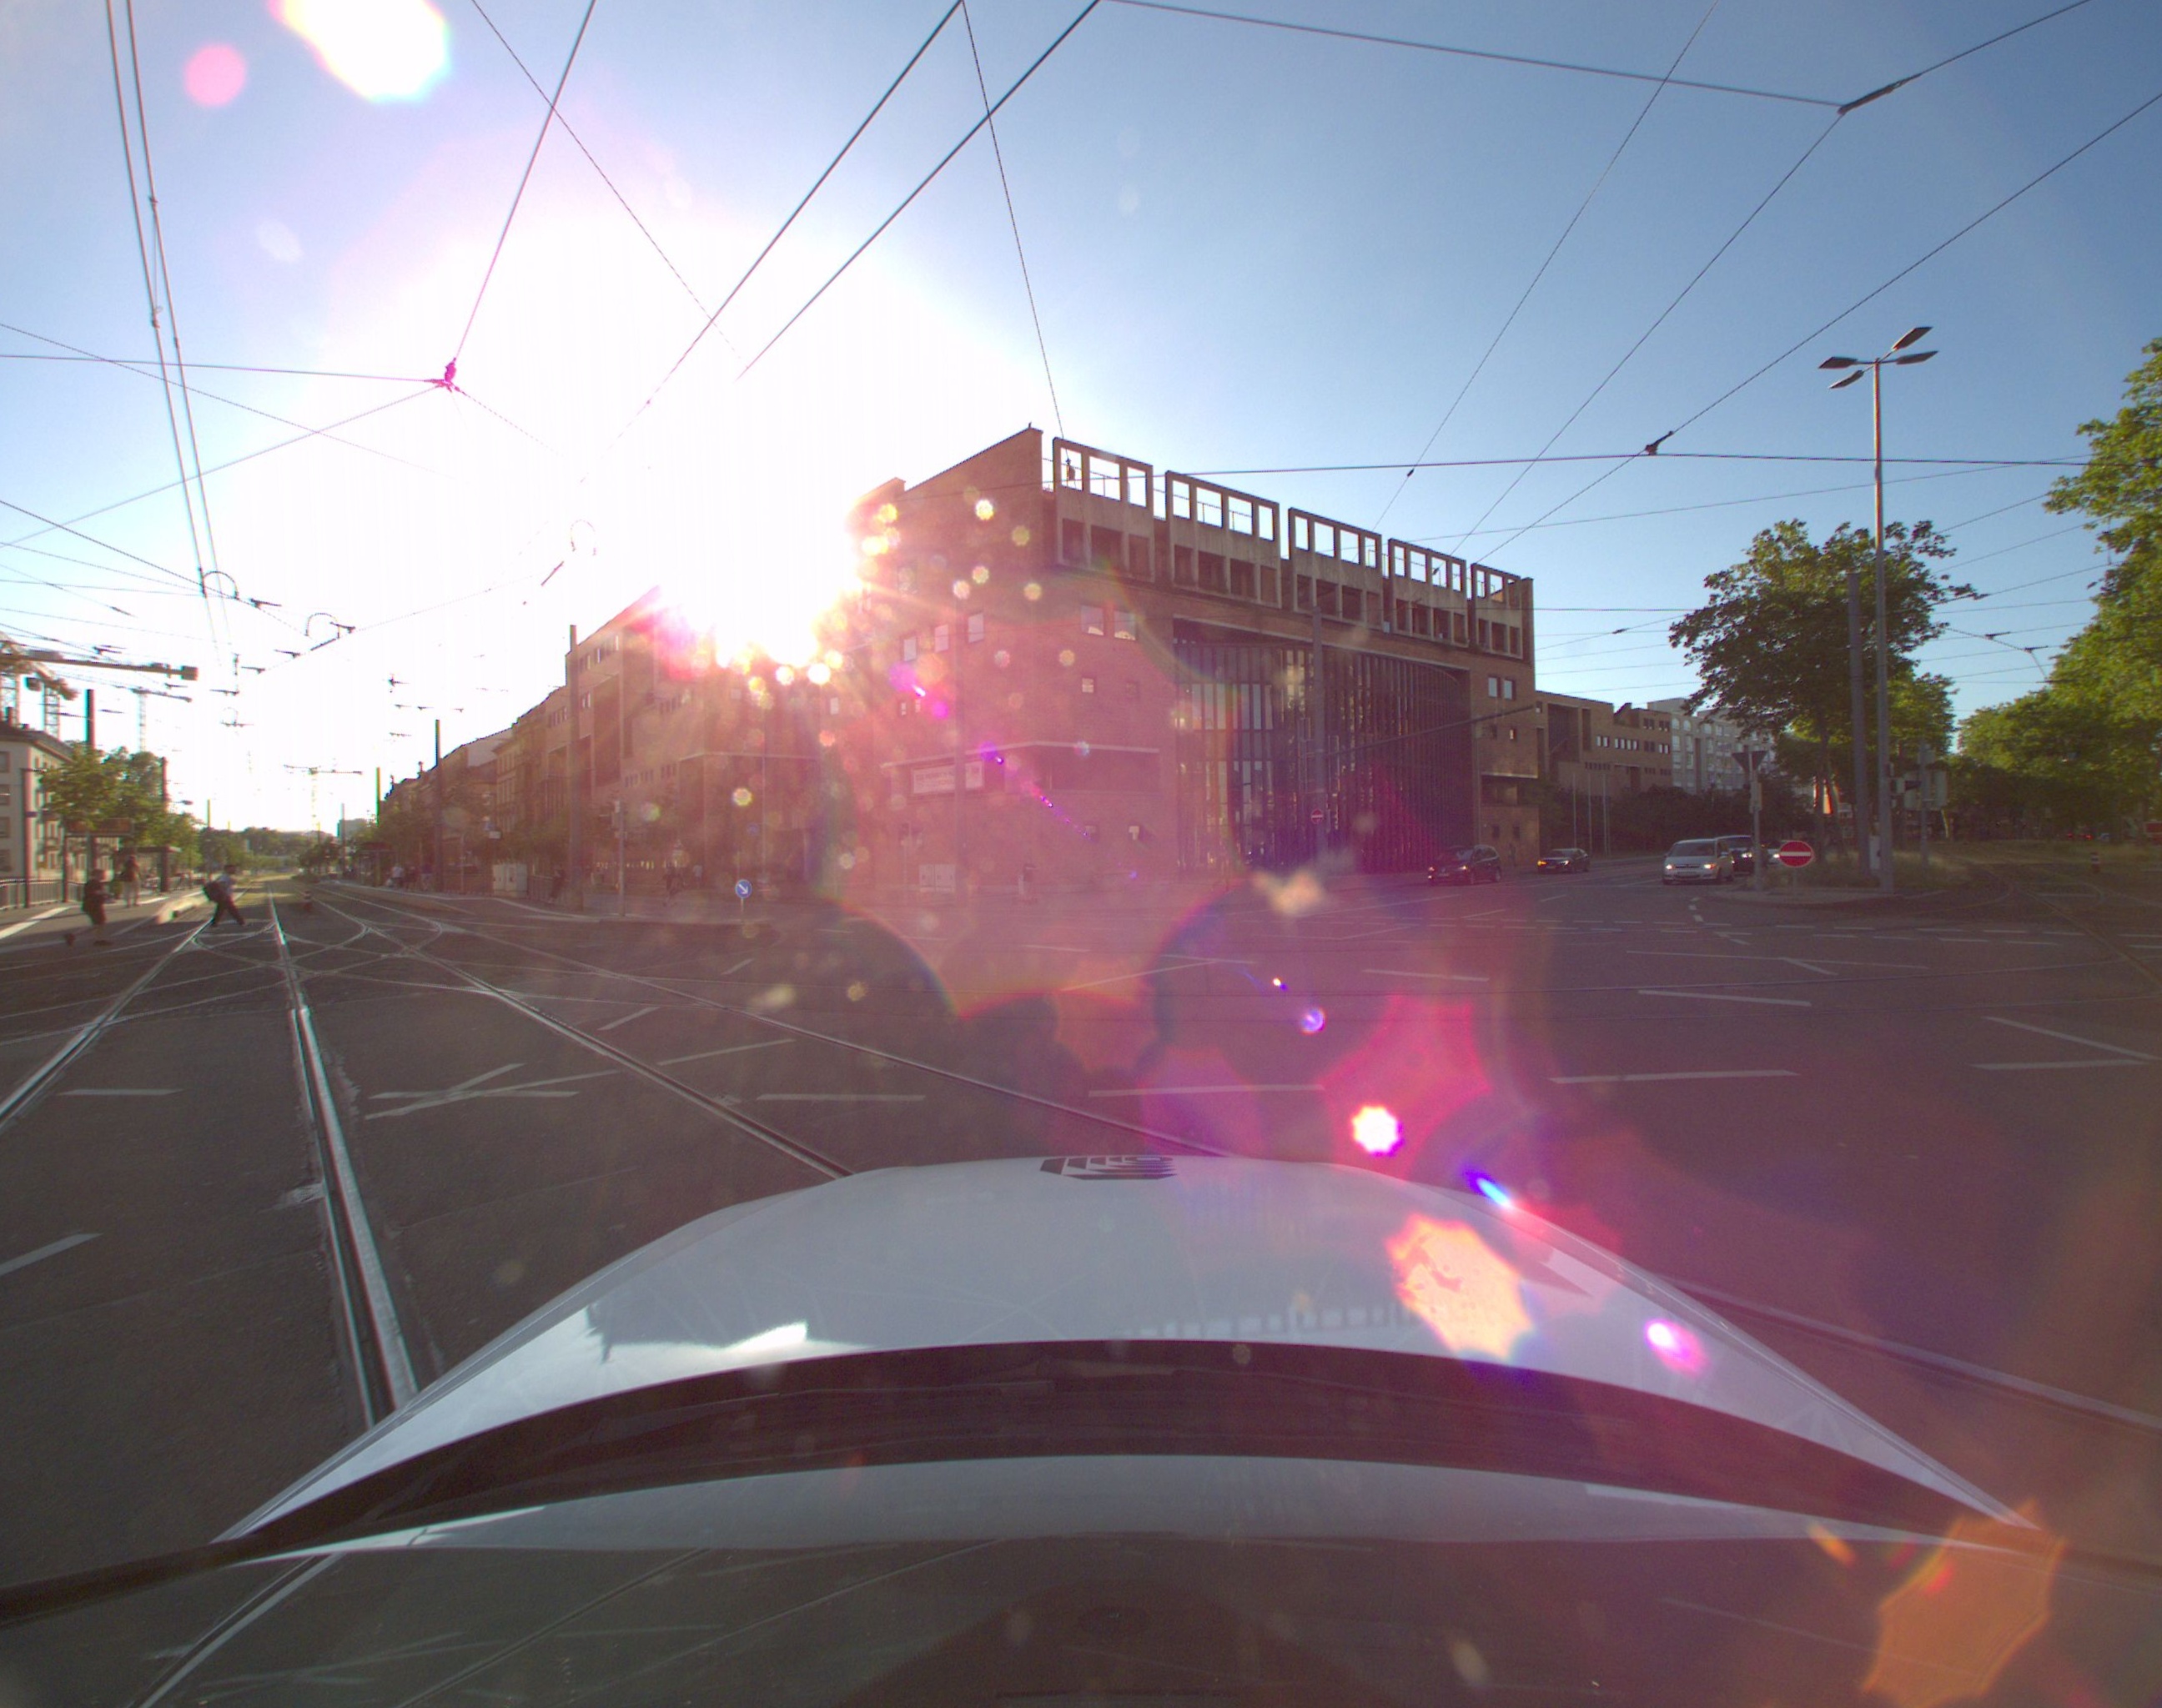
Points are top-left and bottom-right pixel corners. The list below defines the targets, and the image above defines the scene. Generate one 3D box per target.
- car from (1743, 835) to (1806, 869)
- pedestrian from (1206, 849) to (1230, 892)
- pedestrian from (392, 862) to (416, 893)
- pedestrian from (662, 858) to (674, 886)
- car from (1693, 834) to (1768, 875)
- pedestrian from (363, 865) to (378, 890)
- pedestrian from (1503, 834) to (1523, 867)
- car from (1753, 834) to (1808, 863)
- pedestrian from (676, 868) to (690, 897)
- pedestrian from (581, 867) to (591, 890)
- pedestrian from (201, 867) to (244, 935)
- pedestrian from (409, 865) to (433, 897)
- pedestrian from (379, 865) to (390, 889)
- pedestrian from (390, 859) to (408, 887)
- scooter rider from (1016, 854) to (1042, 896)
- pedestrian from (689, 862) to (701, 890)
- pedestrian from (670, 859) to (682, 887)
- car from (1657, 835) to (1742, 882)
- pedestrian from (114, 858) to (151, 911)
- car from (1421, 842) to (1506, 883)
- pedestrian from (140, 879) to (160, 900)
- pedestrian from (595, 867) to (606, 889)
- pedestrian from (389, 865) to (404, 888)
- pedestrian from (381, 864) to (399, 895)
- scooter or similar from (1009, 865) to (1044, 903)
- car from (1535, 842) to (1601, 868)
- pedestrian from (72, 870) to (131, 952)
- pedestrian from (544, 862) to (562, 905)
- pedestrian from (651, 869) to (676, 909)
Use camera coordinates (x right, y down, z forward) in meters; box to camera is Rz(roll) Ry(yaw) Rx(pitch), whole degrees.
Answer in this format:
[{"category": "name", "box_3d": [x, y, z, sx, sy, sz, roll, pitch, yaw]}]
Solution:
[{"category": "car", "box_3d": [34.339, -0.122, 40.296, 4.349, 1.552, 1.837, -1, 0, -43]}, {"category": "pedestrian", "box_3d": [5.519, 0.669, 32.881, 0.819, 1.716, 0.664, -1, 0, -3]}, {"category": "pedestrian", "box_3d": [-38.249, 1.325, 46.006, 1.082, 1.672, 0.896, -2, 0, 43]}, {"category": "pedestrian", "box_3d": [-26.342, 1.141, 51.992, 0.459, 1.756, 0.541, -2, -1, 43]}, {"category": "car", "box_3d": [27.760, -0.001, 34.757, 4.349, 1.650, 1.837, -1, 0, -43]}, {"category": "pedestrian", "box_3d": [-50.151, 1.643, 57.492, 0.643, 1.732, 0.726, -2, -1, 44]}, {"category": "pedestrian", "box_3d": [26.972, -0.201, 50.900, 0.888, 2.013, 0.762, -2, -1, 44]}, {"category": "car", "box_3d": [39.203, -0.313, 45.594, 4.349, 1.552, 1.837, -1, 0, -43]}, {"category": "pedestrian", "box_3d": [-24.692, 1.777, 50.517, 0.737, 1.756, 0.688, -1, -1, -32]}, {"category": "pedestrian", "box_3d": [-39.254, 1.926, 64.575, 0.416, 1.756, 0.541, -2, -1, 31]}, {"category": "pedestrian", "box_3d": [-22.541, 1.223, 21.380, 0.768, 1.717, 0.645, -2, -1, 36]}, {"category": "pedestrian", "box_3d": [-35.800, 1.458, 44.167, 0.663, 1.672, 0.896, -2, -1, 43]}, {"category": "pedestrian", "box_3d": [-49.924, 1.630, 58.356, 0.643, 1.732, 0.509, -2, -1, 44]}, {"category": "pedestrian", "box_3d": [-36.646, 1.039, 43.770, 0.688, 1.483, 0.819, 0, -1, -43]}, {"category": "scooter rider", "box_3d": [-1.854, 0.758, 28.854, 0.712, 1.461, 0.511, -2, -1, 37]}, {"category": "pedestrian", "box_3d": [-24.369, 1.385, 51.386, 0.540, 1.756, 0.688, -1, -1, -35]}, {"category": "pedestrian", "box_3d": [-26.280, 1.240, 52.871, 0.541, 1.756, 0.416, -1, -1, -43]}, {"category": "car", "box_3d": [22.479, 0.144, 29.543, 4.349, 1.597, 1.714, -1, 0, -43]}, {"category": "pedestrian", "box_3d": [-31.024, 0.993, 26.640, 0.683, 1.684, 0.569, -1, -1, -41]}, {"category": "car", "box_3d": [17.050, 0.342, 36.174, 4.526, 1.654, 1.817, -1, -1, -43]}, {"category": "pedestrian", "box_3d": [-54.405, 2.053, 47.591, 0.895, 1.189, 0.679, -2, -1, 44]}, {"category": "pedestrian", "box_3d": [-36.556, 1.821, 61.955, 0.633, 1.713, 0.576, -2, -1, 39]}, {"category": "pedestrian", "box_3d": [-47.072, 1.560, 56.030, 0.895, 1.562, 0.679, -2, -1, 44]}, {"category": "pedestrian", "box_3d": [-38.864, 1.425, 45.811, 0.663, 1.672, 0.663, -2, -1, 43]}, {"category": "scooter or similar", "box_3d": [-1.926, 1.071, 28.907, 1.118, 1.318, 0.532, -2, -1, 36]}, {"category": "car", "box_3d": [27.691, 0.076, 46.287, 4.019, 1.376, 1.900, -1, 0, -38]}, {"category": "pedestrian", "box_3d": [-20.963, 1.205, 17.431, 0.740, 1.702, 0.628, -2, 0, 26]}, {"category": "pedestrian", "box_3d": [-19.166, 1.067, 29.573, 0.492, 1.539, 0.546, -1, 0, -31]}, {"category": "pedestrian", "box_3d": [-16.568, 1.384, 32.340, 0.718, 1.539, 0.842, -1, 0, -37]}]
